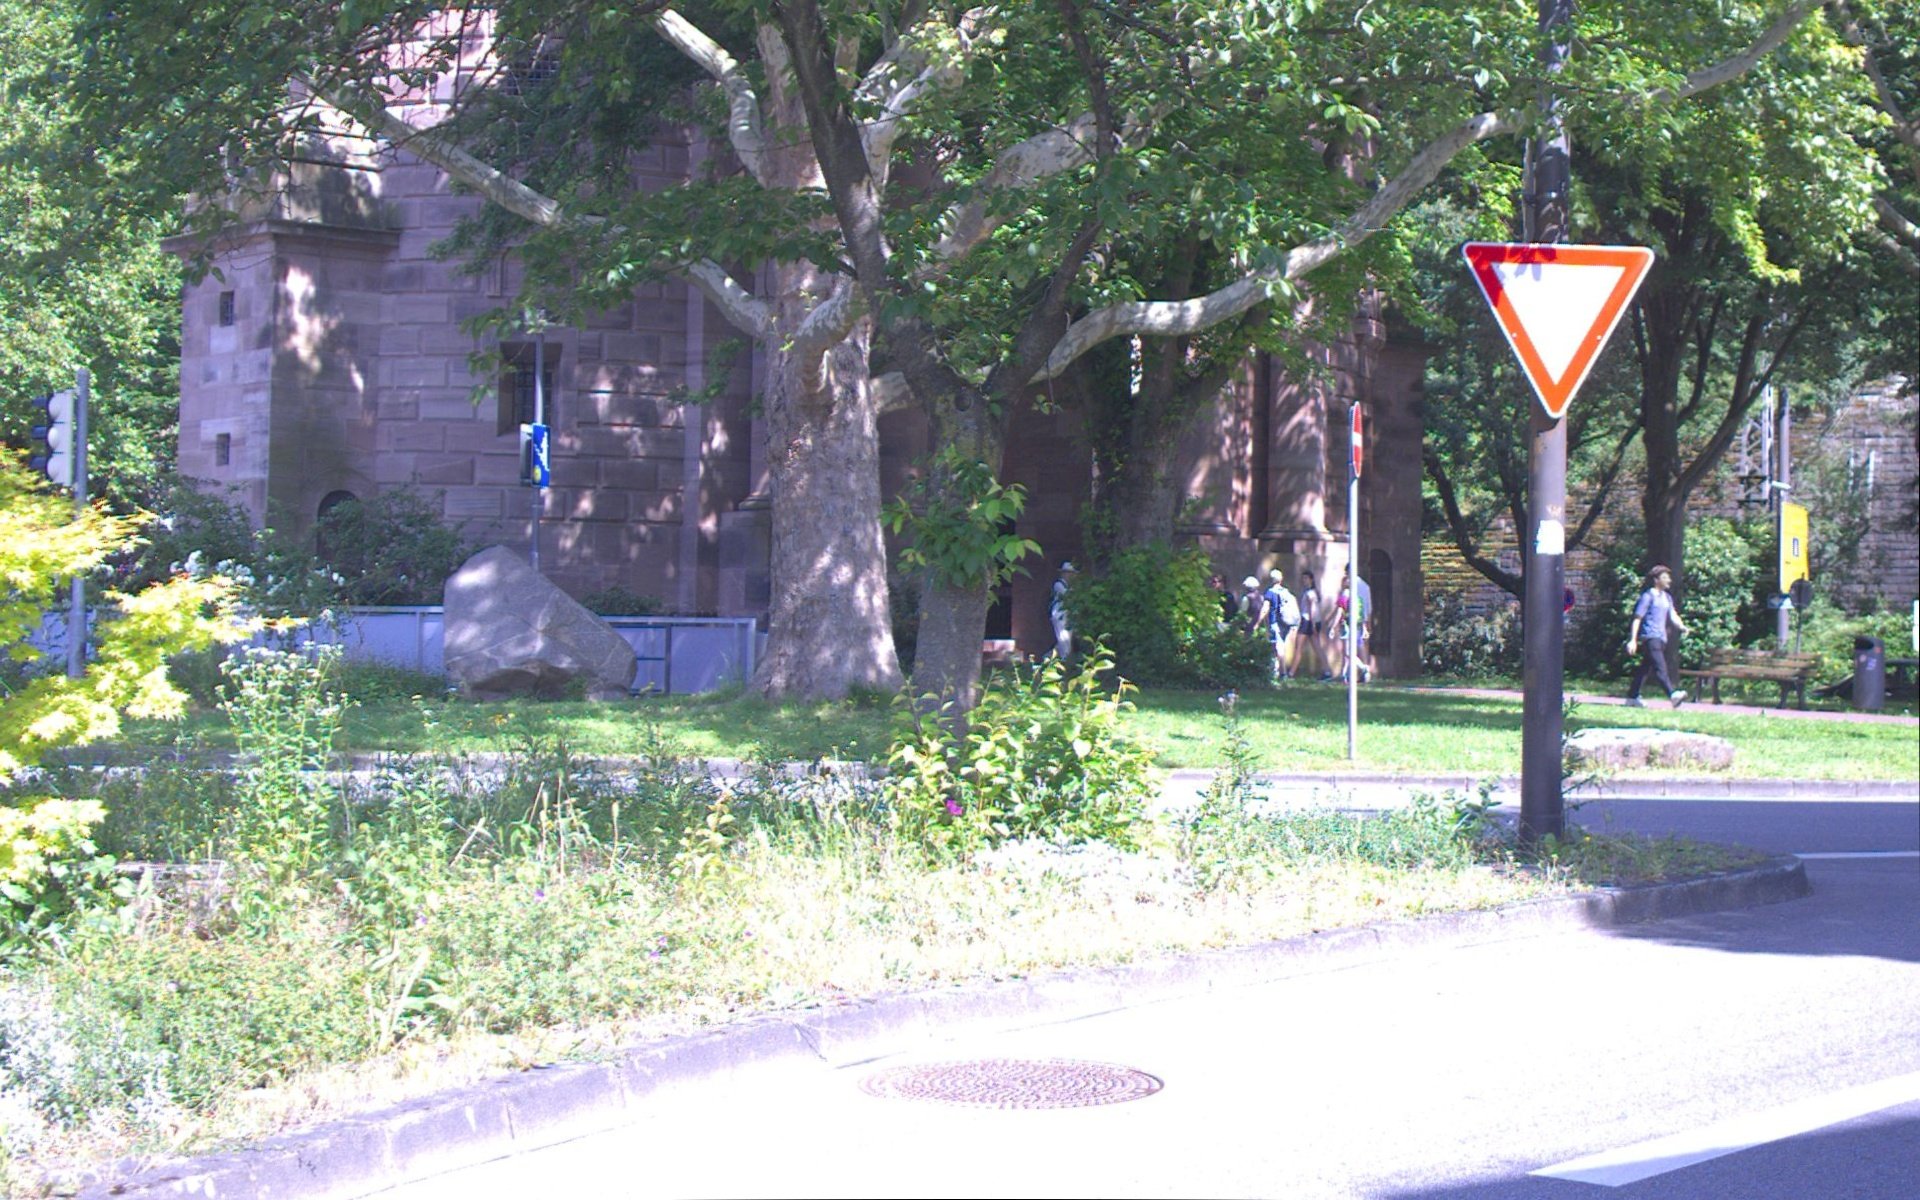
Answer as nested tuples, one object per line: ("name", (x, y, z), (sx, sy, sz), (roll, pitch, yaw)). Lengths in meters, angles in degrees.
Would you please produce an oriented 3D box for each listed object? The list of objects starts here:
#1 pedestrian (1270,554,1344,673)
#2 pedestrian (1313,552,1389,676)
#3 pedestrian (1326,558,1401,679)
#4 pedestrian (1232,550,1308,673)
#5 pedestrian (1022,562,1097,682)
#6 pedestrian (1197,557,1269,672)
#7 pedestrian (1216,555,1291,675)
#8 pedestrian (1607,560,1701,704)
("pedestrian", (5.212, 0.203, 51.654), (0.792, 1.750, 0.665), (3, -1, -29))
("pedestrian", (5.684, 0.199, 49.962), (0.792, 1.750, 0.665), (3, -1, -29))
("pedestrian", (5.973, 0.271, 50.947), (0.792, 1.750, 0.665), (3, -1, -29))
("pedestrian", (4.497, 0.165, 49.919), (0.792, 1.750, 0.665), (3, -1, -29))
("pedestrian", (1.486, 0.315, 51.424), (0.792, 1.776, 0.876), (0, 1, -29))
("pedestrian", (4.232, 0.220, 53.322), (0.792, 1.750, 0.665), (3, -1, -29))
("pedestrian", (4.370, 0.219, 51.198), (0.792, 1.750, 0.665), (3, -1, -29))
("pedestrian", (8.634, 0.399, 42.776), (0.792, 1.750, 0.722), (3, -1, -29))
